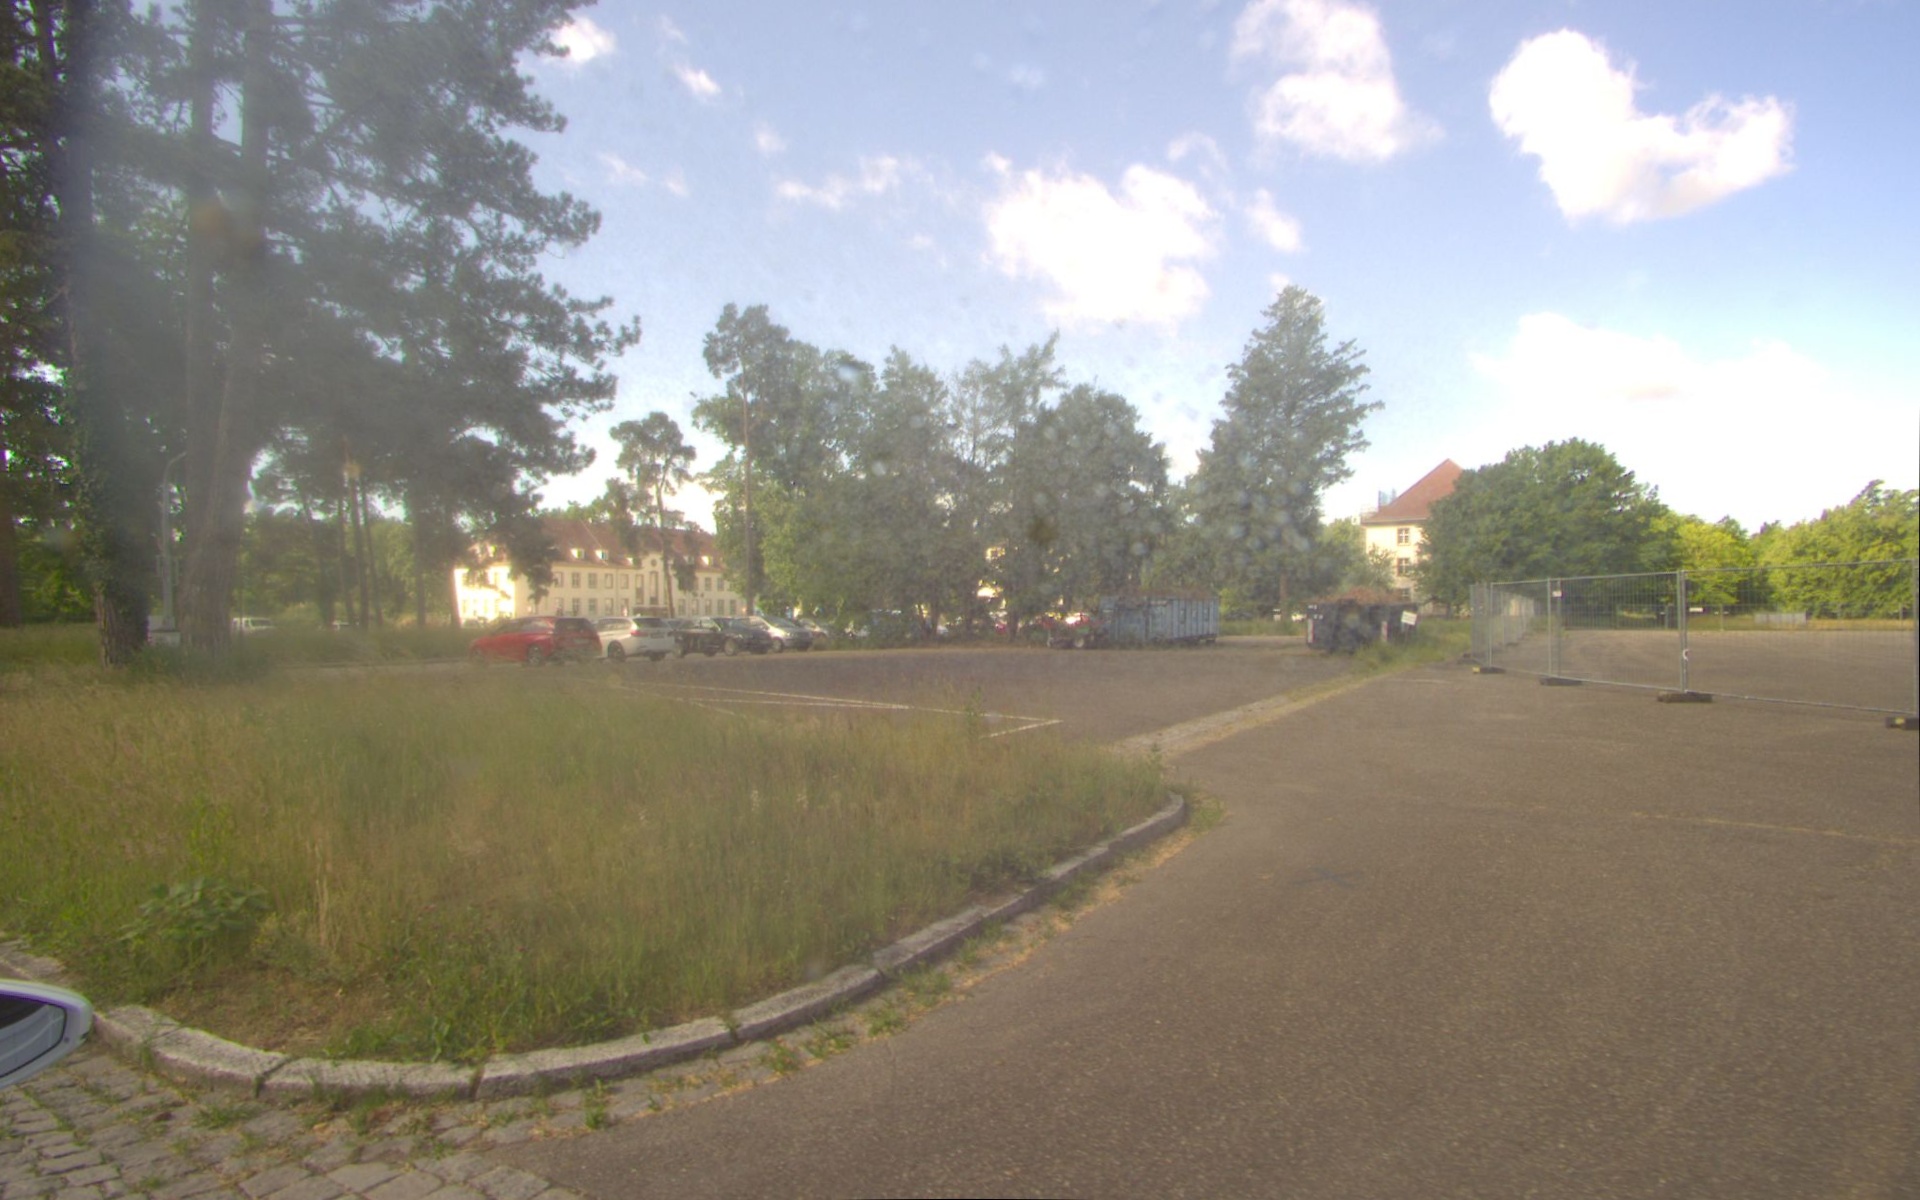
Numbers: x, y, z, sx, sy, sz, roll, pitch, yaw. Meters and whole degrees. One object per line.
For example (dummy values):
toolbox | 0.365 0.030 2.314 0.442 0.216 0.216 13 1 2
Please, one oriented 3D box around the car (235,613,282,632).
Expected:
car | -58.902 1.868 84.106 4.103 1.603 1.823 -1 0 33

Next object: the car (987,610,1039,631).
car | 4.054 1.596 76.575 3.640 1.568 1.705 -1 -2 32

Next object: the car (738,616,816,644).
car | -10.037 1.648 54.821 4.181 1.512 1.721 -1 -2 33

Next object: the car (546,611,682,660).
car | -10.941 1.124 31.612 4.180 1.396 1.776 -3 -2 31

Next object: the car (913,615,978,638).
car | -1.005 1.814 68.442 4.181 1.568 1.721 -1 -2 33

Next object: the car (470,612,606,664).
car | -12.279 1.110 29.092 4.071 1.416 1.653 -2 -2 33

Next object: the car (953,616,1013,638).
car | 1.669 1.988 73.648 4.181 1.568 1.721 -1 -2 33

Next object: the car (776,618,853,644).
car | -8.238 1.744 56.516 4.181 1.443 1.721 -1 -2 33

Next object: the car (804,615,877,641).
car | -7.109 1.643 59.365 4.181 1.487 1.721 -1 -2 33

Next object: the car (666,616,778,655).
car | -8.618 1.254 36.177 3.988 1.332 1.613 -1 0 33

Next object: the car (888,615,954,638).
car | -2.579 1.748 65.860 4.181 1.443 1.721 -1 -2 33

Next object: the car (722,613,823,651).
car | -7.285 1.229 38.849 3.740 1.390 1.720 -1 -2 34

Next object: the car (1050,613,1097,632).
car | 9.820 1.941 86.826 3.682 1.568 1.705 -1 -2 33

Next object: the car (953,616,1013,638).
car | 1.683 1.988 73.640 4.181 1.568 1.721 -1 -2 33

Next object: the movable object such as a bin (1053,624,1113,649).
movable object such as a bin | 4.024 1.193 32.790 1.696 0.762 1.143 -1 0 26
